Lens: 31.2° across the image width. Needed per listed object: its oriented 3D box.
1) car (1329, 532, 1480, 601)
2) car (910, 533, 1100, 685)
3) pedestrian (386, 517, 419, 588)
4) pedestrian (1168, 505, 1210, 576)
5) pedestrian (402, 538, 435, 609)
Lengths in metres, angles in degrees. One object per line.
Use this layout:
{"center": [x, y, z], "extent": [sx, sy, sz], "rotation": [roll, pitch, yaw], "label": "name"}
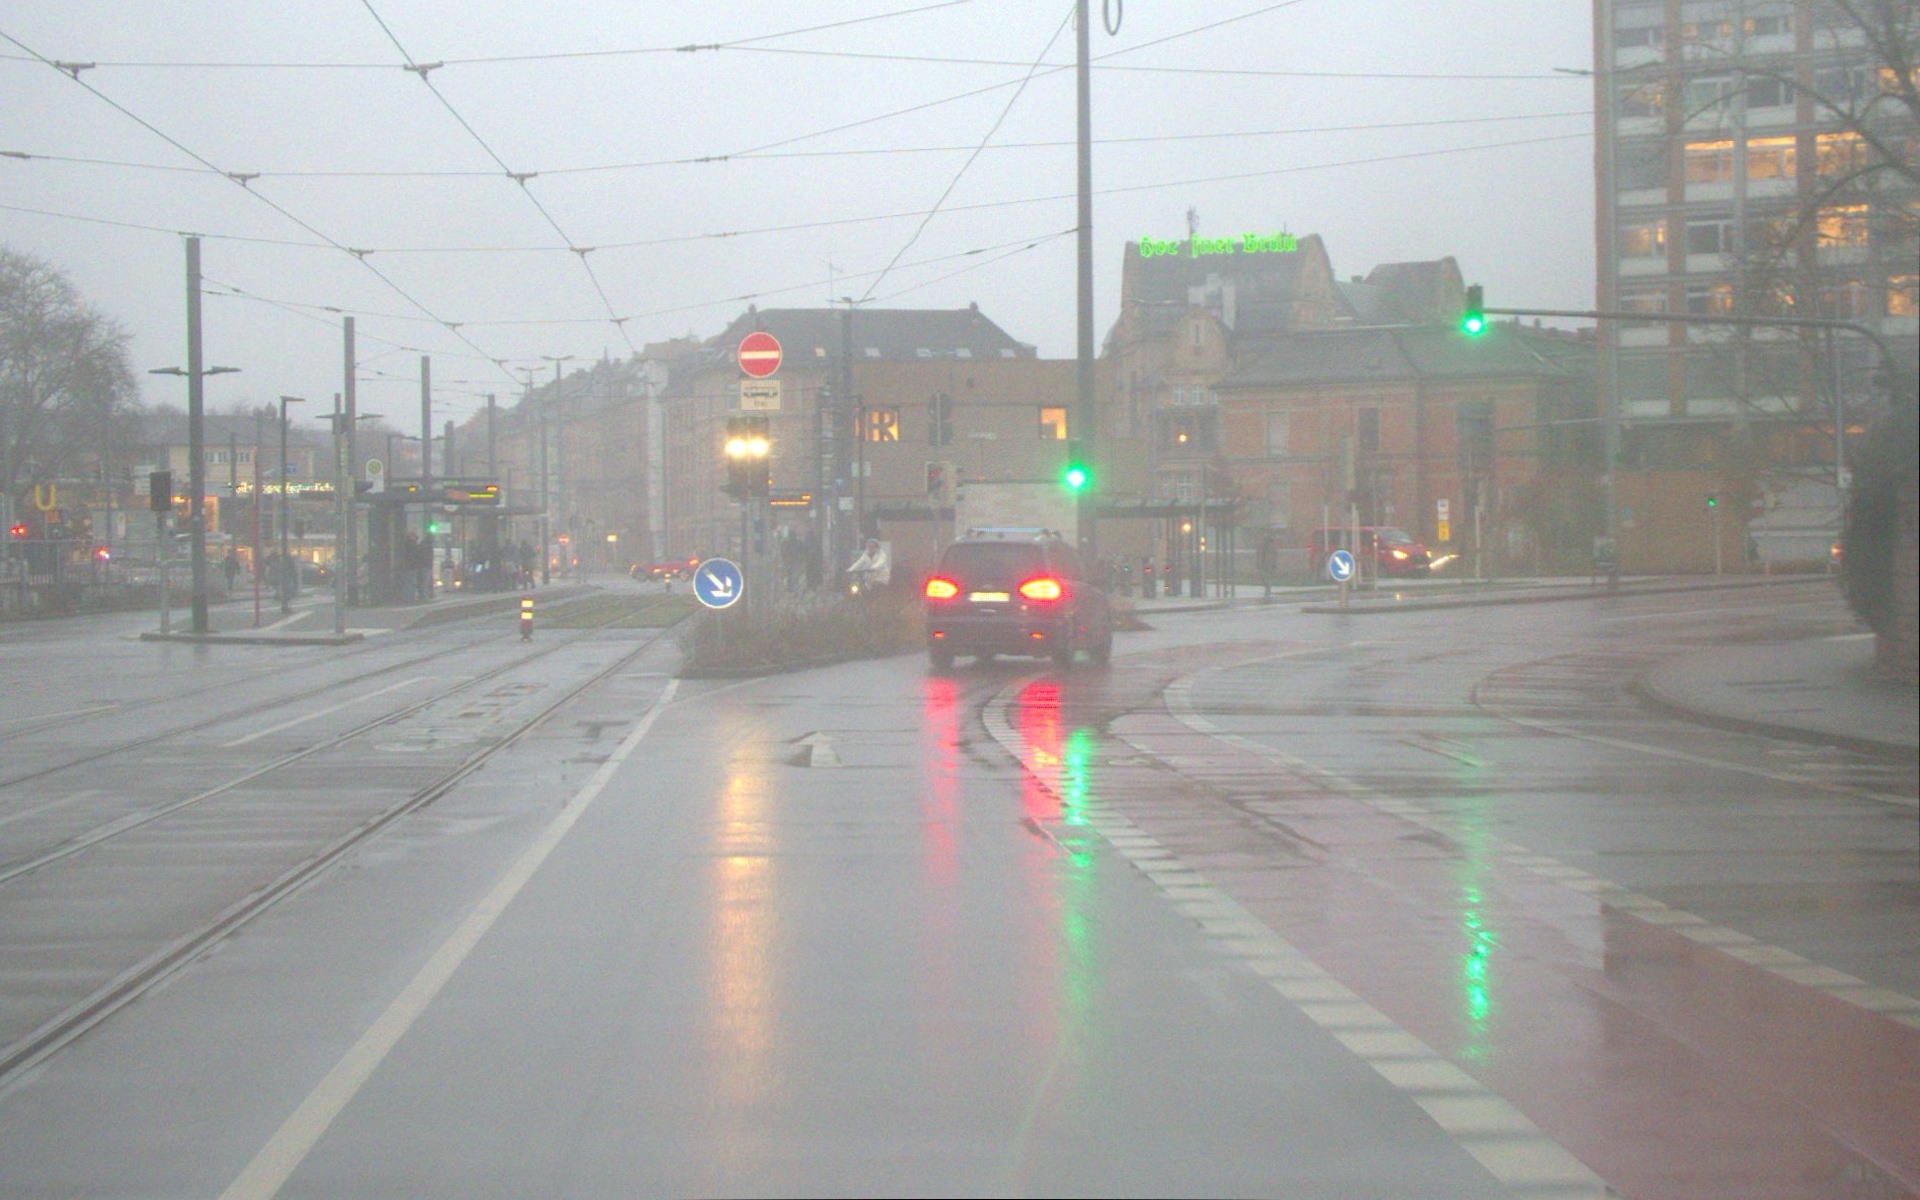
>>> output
{"center": [15.841, -1.206, 122.682], "extent": [2.252, 2.273, 5.036], "rotation": [1, 1, -41], "label": "car"}
{"center": [0.634, 0.067, 45.232], "extent": [1.648, 1.812, 3.998], "rotation": [1, 2, 13], "label": "car"}
{"center": [-13.877, -1.184, 85.626], "extent": [0.712, 1.751, 0.717], "rotation": [1, 0, -2], "label": "pedestrian"}
{"center": [5.500, -1.437, 82.647], "extent": [0.674, 1.668, 0.729], "rotation": [2, 0, 36], "label": "pedestrian"}
{"center": [-13.804, -0.678, 87.671], "extent": [0.712, 1.800, 0.717], "rotation": [1, 0, -2], "label": "pedestrian"}
